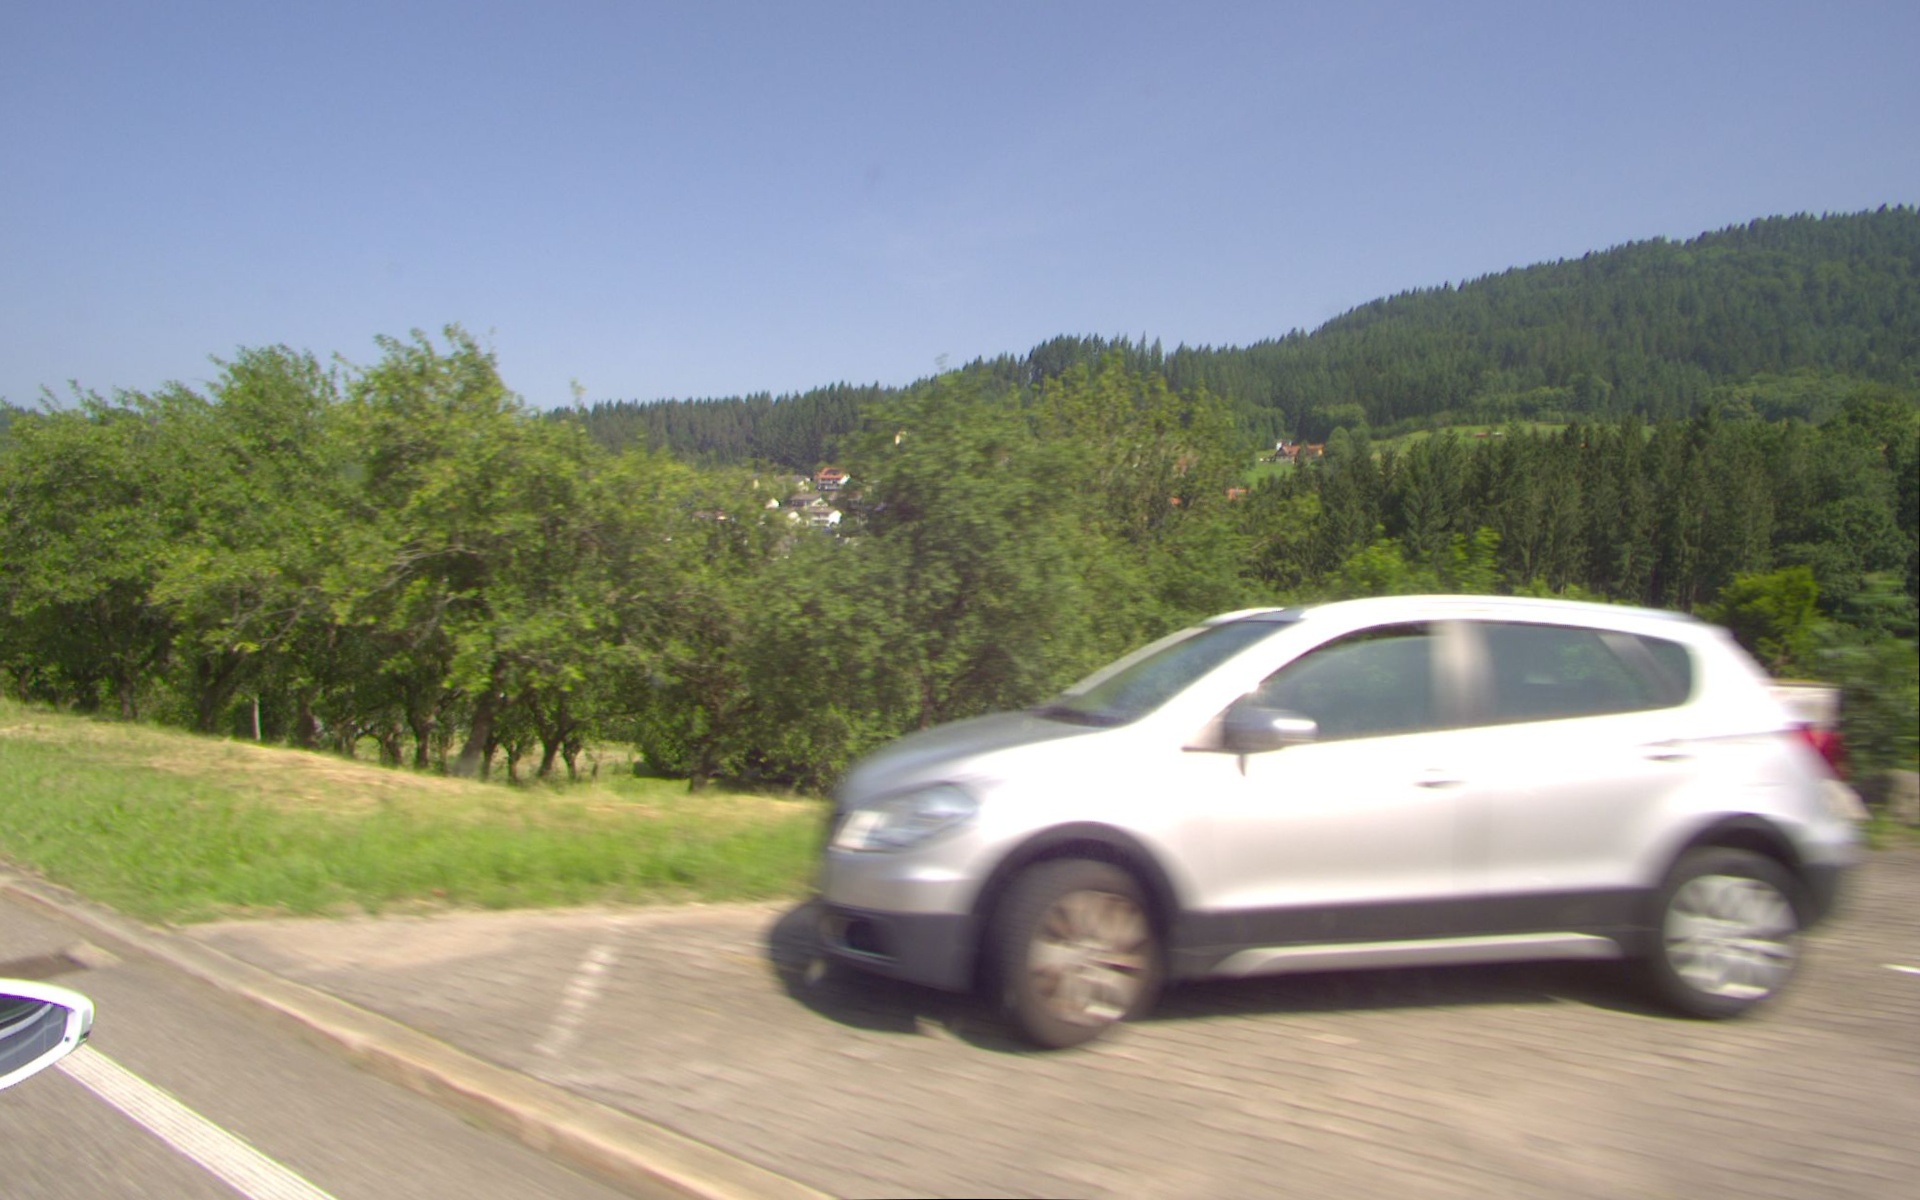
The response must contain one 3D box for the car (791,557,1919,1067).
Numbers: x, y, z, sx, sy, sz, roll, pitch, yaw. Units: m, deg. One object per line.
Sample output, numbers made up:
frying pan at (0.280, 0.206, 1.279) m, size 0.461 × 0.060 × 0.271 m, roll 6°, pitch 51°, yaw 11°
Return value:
car at (1.523, 0.786, 4.410) m, size 4.378 × 1.590 × 1.906 m, roll 2°, pitch -3°, yaw -8°
